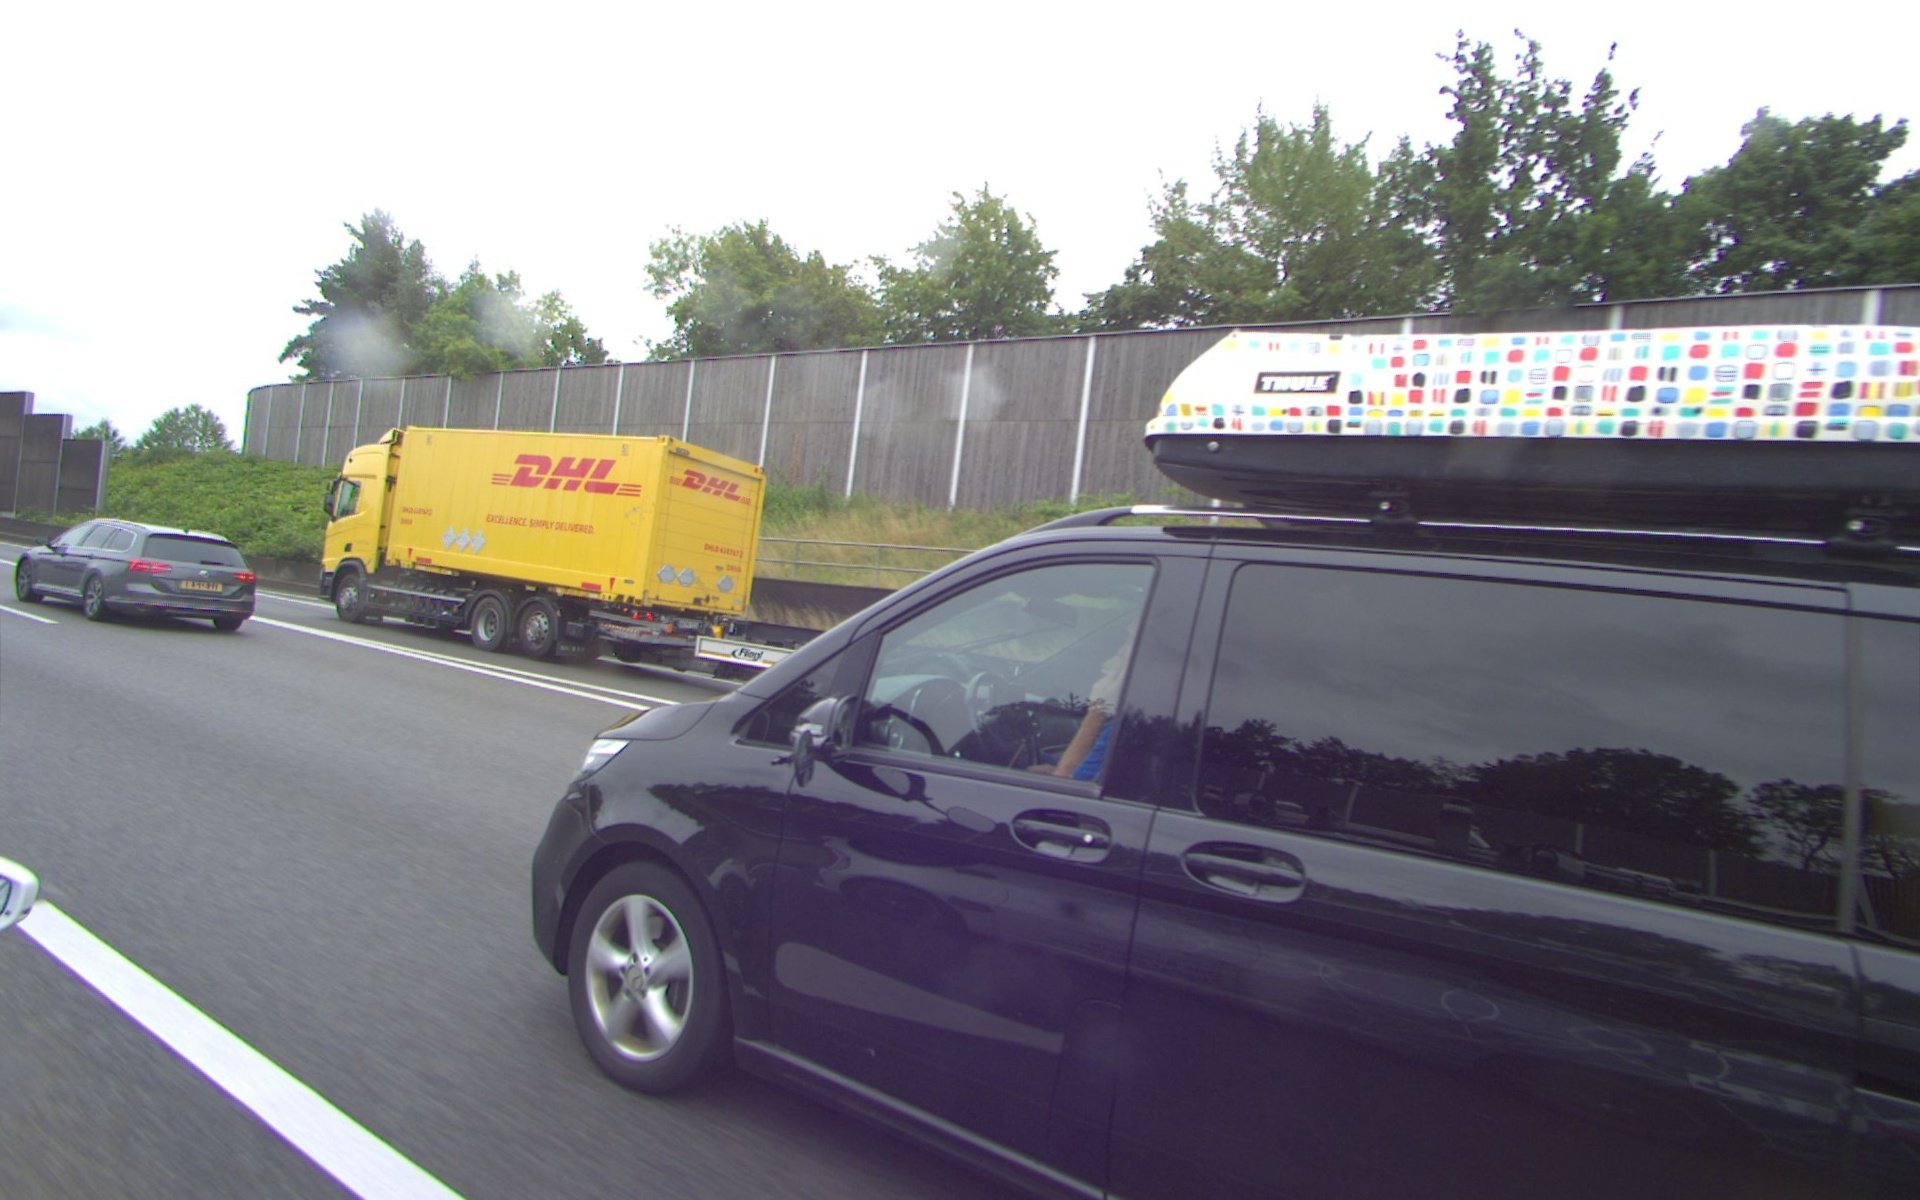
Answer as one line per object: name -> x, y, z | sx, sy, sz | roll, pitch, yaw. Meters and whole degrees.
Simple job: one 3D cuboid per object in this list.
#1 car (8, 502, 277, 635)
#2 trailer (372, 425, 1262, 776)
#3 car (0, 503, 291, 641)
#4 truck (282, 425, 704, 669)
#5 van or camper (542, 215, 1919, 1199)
car -> -12.437, -0.508, 15.232 | 4.396, 1.473, 1.667 | 6, -2, 31
trailer -> -3.745, -0.598, 16.867 | 16.407, 3.998, 2.657 | 6, -2, 31
car -> -12.739, -0.473, 15.486 | 5.201, 1.443, 1.944 | 7, -2, 31
truck -> -9.734, -1.228, 20.450 | 9.170, 4.003, 2.691 | 6, -2, 31
van or camper -> 1.708, 0.632, 2.398 | 5.585, 2.296, 1.894 | 6, -1, 32
